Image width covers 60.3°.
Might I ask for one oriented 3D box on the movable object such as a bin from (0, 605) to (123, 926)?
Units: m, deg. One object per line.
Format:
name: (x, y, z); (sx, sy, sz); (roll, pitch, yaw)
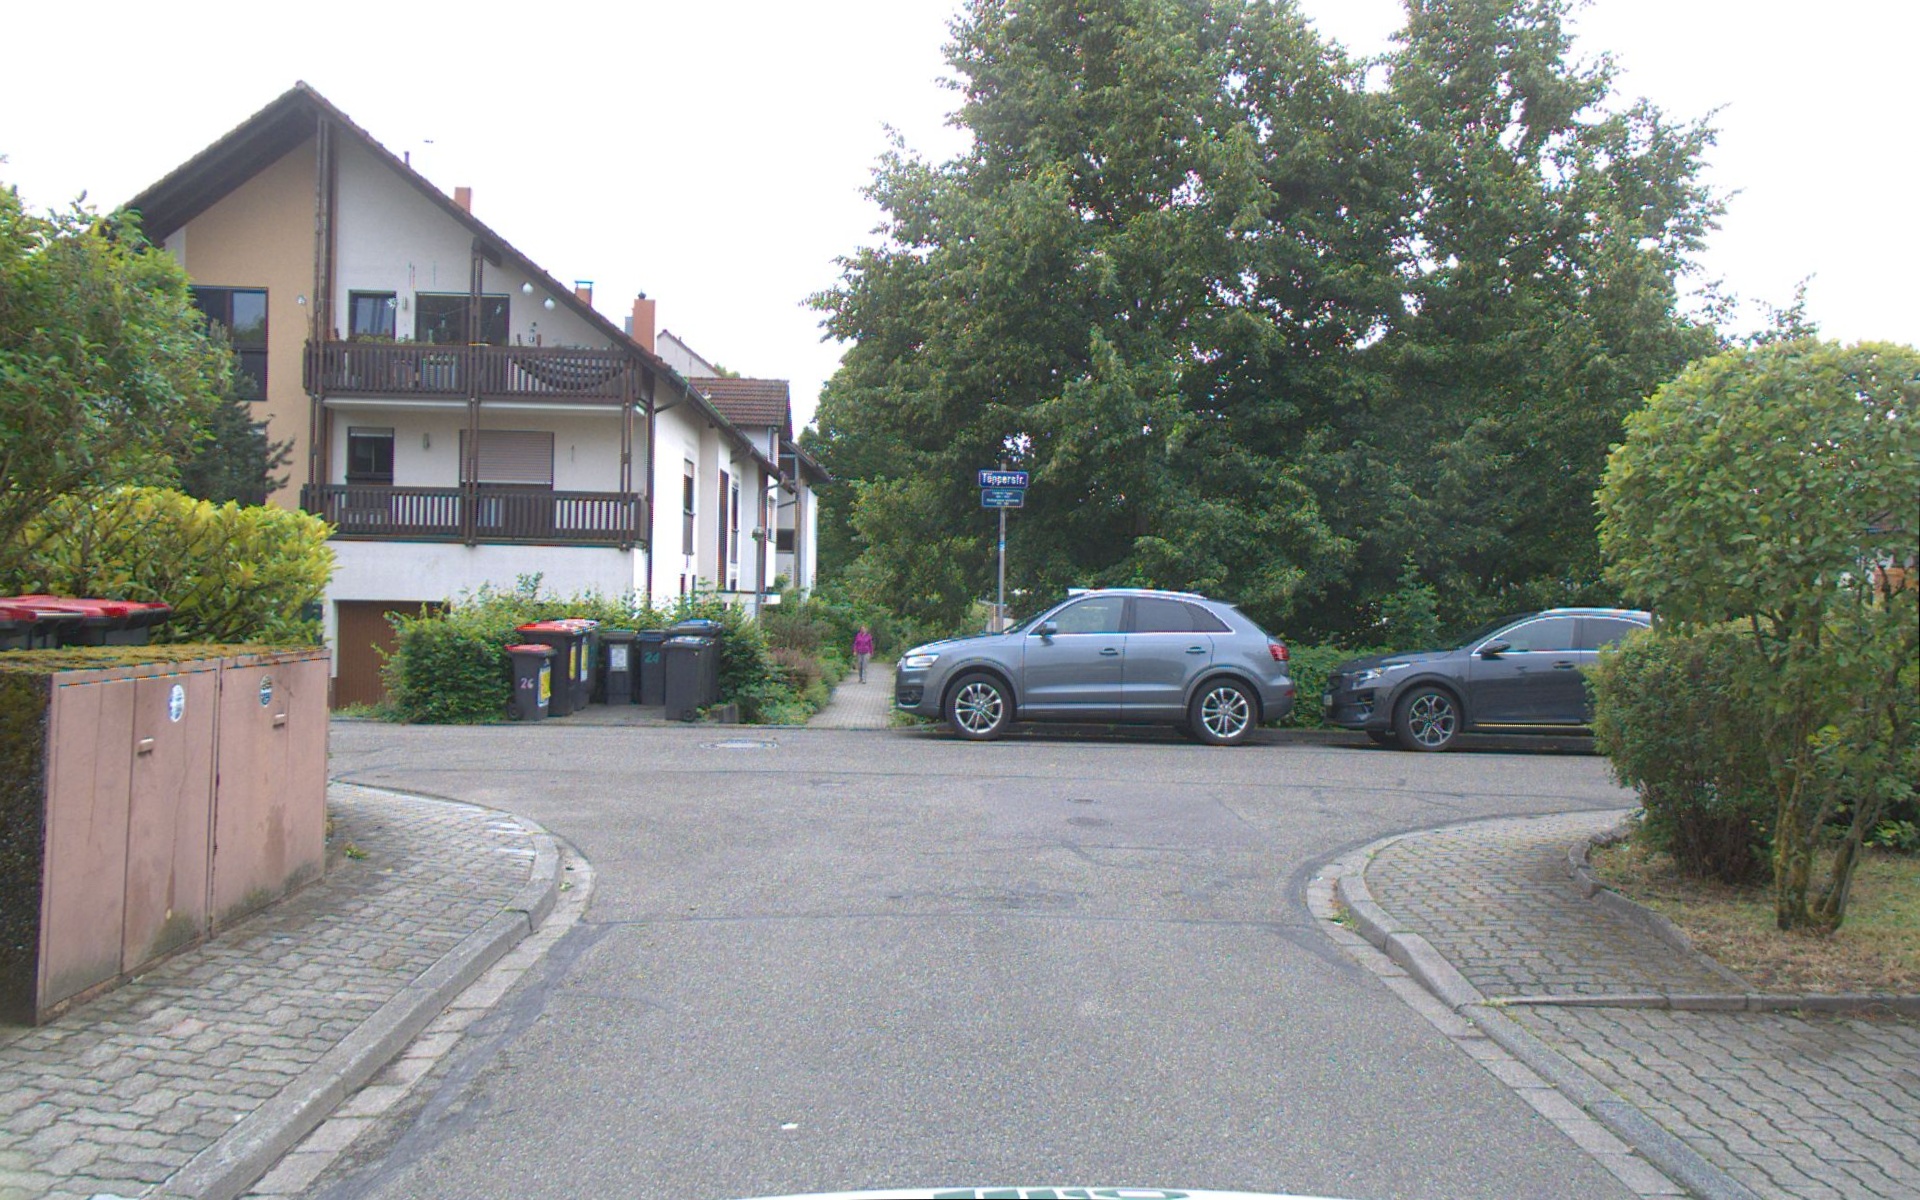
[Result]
movable object such as a bin: (-3.663, 0.628, 6.501); (0.495, 1.208, 0.515); (0, 0, -3)

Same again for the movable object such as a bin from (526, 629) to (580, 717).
movable object such as a bin: (-4.824, 0.859, 19.625); (0.526, 1.011, 0.379); (2, 0, -5)

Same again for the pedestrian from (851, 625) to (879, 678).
pedestrian: (-2.821, 1.522, 48.886); (0.799, 1.544, 0.438); (1, -1, -5)

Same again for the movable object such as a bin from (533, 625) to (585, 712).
movable object such as a bin: (-4.841, 0.824, 19.996); (0.526, 1.011, 0.337); (2, 0, -5)

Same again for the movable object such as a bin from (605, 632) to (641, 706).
movable object such as a bin: (-4.277, 0.870, 20.998); (0.378, 0.917, 0.379); (2, 0, -4)

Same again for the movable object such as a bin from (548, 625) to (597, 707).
movable object such as a bin: (-4.881, 0.827, 20.847); (0.526, 1.011, 0.337); (2, 0, -5)

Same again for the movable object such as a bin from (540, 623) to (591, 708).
movable object such as a bin: (-4.855, 0.805, 20.357); (0.526, 1.011, 0.337); (2, 0, -5)

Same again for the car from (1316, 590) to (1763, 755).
car: (5.958, 0.745, 17.355); (4.094, 1.558, 1.748); (1, -2, 2)

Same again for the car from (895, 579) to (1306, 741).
car: (1.401, 0.639, 17.578); (4.152, 1.558, 1.746); (1, -2, -3)

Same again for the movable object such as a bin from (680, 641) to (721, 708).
movable object such as a bin: (-3.266, 0.932, 20.825); (0.450, 0.811, 0.379); (2, 0, -5)

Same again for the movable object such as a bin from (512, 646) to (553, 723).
movable object such as a bin: (-4.956, 0.976, 19.193); (0.378, 0.851, 0.379); (2, 0, -4)

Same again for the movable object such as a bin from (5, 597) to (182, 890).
movable object such as a bin: (-3.705, 0.591, 7.100); (0.495, 1.208, 0.515); (0, 0, -3)

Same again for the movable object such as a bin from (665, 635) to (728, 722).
movable object such as a bin: (-3.103, 0.917, 19.537); (0.625, 0.970, 0.722); (2, 0, -3)

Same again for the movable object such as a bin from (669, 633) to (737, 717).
movable object such as a bin: (-3.142, 0.913, 20.261); (0.719, 0.970, 0.584); (2, 0, -2)

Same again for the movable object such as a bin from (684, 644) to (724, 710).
movable object such as a bin: (-3.288, 0.983, 21.242); (0.450, 0.811, 0.379); (2, 0, -5)

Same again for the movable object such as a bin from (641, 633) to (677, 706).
movable object such as a bin: (-3.822, 0.879, 21.033); (0.378, 0.905, 0.379); (2, 0, -4)
